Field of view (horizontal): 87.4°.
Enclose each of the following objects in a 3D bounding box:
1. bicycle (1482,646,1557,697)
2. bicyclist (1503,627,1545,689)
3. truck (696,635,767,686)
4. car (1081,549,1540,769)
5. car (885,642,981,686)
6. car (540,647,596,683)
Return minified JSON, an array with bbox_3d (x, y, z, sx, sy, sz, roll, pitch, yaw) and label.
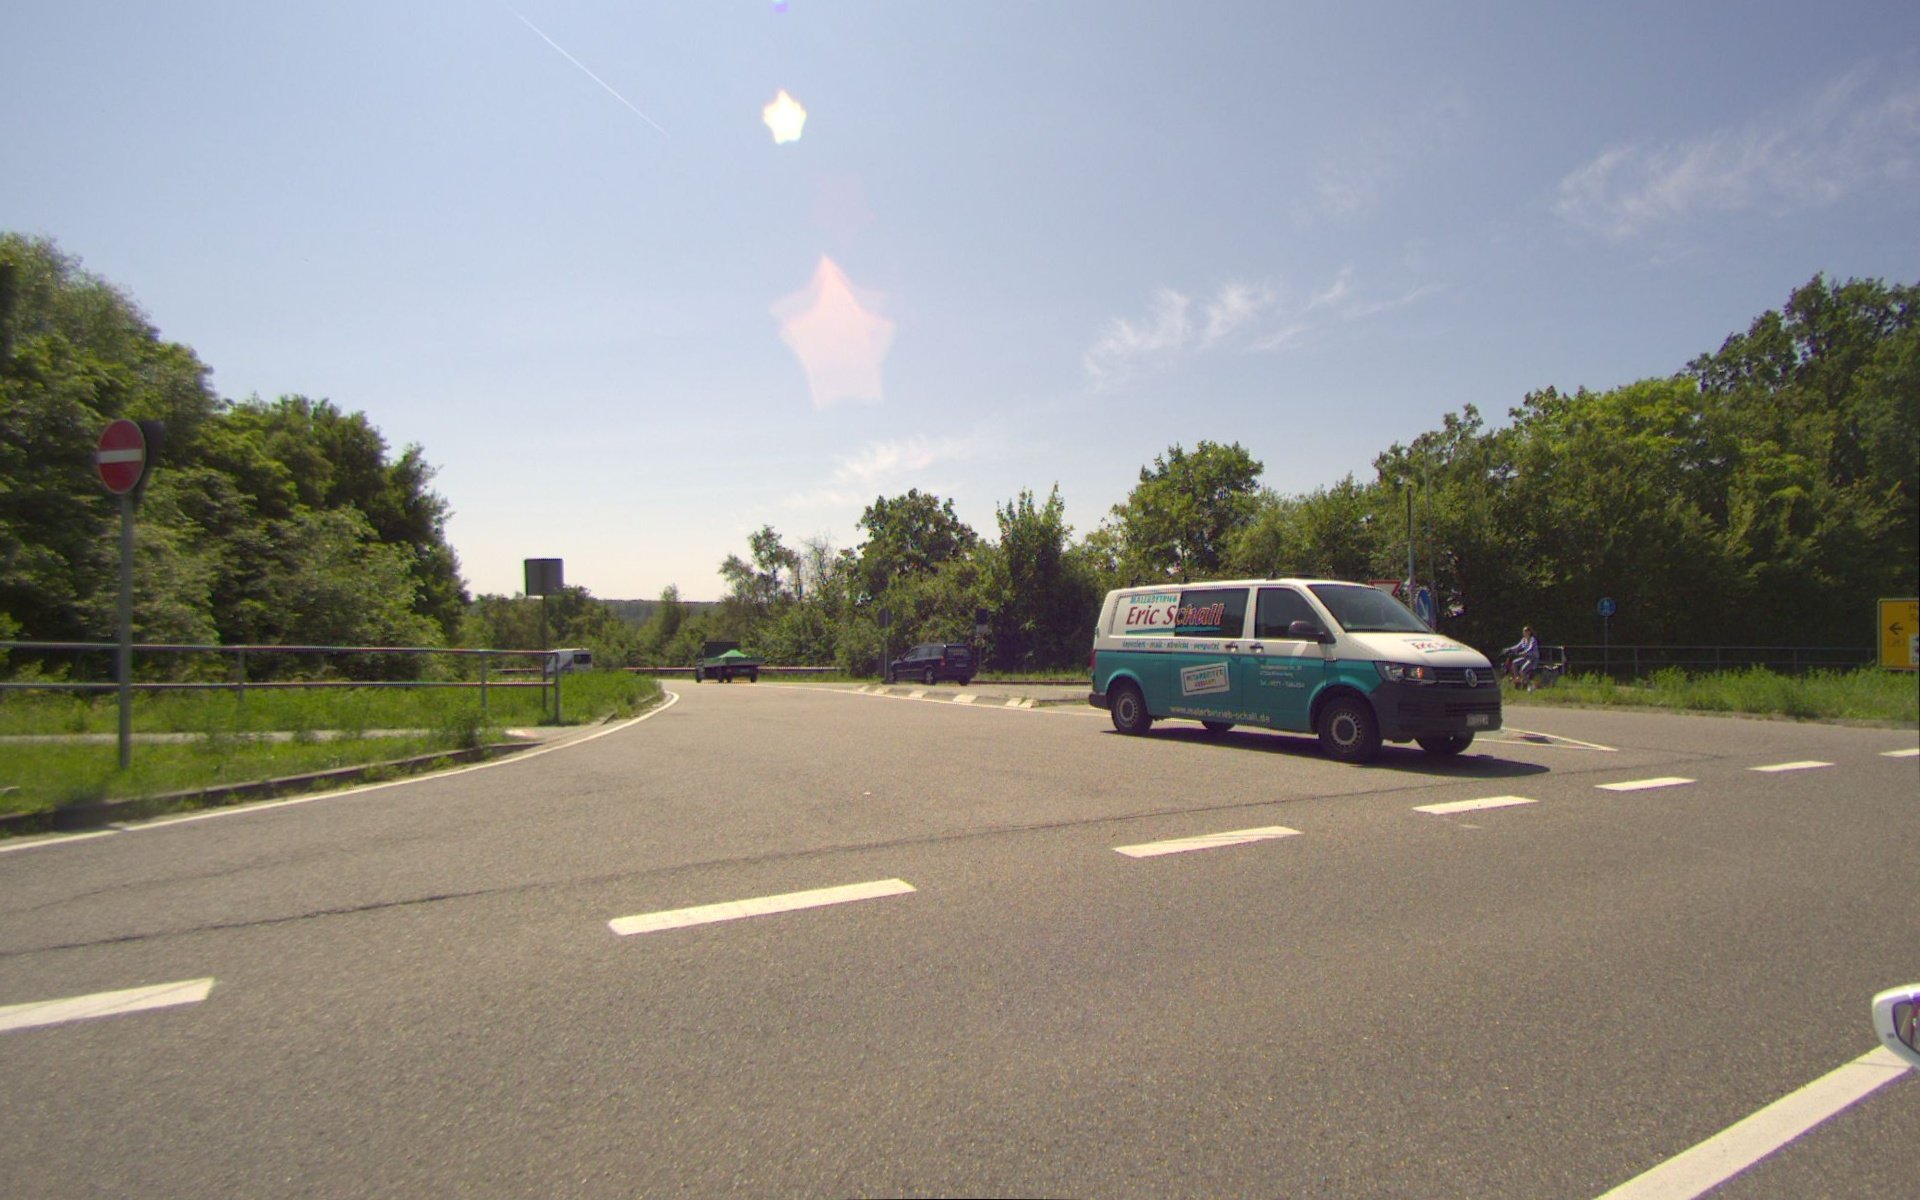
[{"bbox_3d":[12.942,1.645,23.268,1.452,1.128,0.437,1,-1,5],"label":"bicycle"},{"bbox_3d":[13.054,1.329,23.252,0.597,1.381,0.690,1,-1,5],"label":"bicyclist"},{"bbox_3d":[-12.496,3.340,54.601,2.119,2.598,6.594,2,-5,-28],"label":"truck"},{"bbox_3d":[3.831,0.664,12.100,1.978,2.054,5.144,1,-3,-31],"label":"car"},{"bbox_3d":[-1.033,2.272,36.524,1.709,1.476,3.760,1,-2,-35],"label":"car"},{"bbox_3d":[-33.077,5.458,84.649,5.931,2.887,2.099,-4,-4,44],"label":"car"}]
